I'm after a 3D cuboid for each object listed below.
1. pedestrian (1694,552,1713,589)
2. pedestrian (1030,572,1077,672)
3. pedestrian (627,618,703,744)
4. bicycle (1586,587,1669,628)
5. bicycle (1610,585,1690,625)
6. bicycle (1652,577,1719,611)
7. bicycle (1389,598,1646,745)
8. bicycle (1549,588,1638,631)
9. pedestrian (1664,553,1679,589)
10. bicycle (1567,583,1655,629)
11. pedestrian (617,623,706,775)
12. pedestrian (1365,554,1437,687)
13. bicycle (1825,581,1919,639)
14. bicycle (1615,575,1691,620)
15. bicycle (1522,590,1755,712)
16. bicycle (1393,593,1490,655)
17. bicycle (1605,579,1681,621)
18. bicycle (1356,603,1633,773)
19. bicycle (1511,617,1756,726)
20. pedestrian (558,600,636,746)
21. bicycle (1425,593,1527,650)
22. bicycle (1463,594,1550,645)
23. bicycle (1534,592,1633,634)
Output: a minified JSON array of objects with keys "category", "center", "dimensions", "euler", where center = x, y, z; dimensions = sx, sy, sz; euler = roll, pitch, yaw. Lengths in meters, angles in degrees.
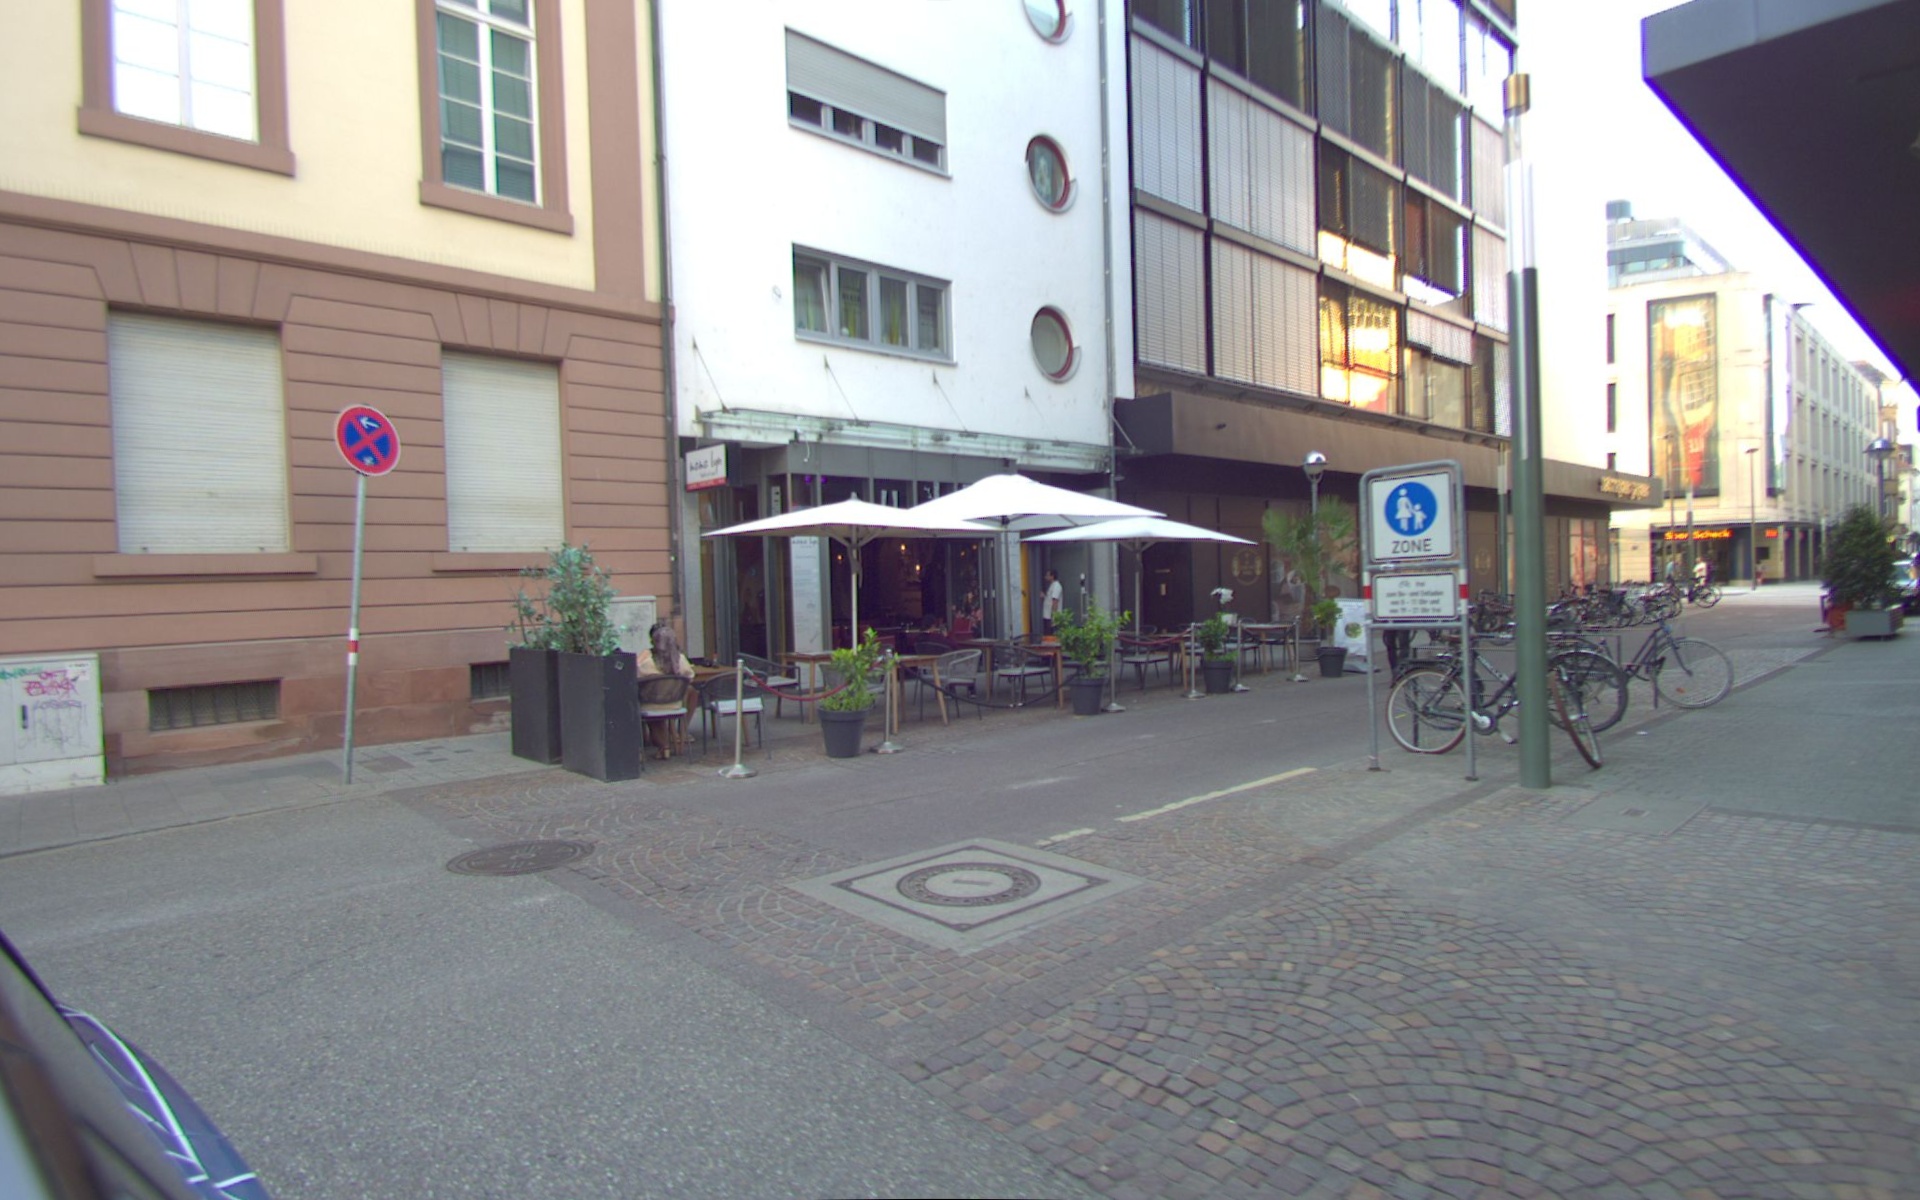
[{"category":"pedestrian","center":[32.302,-1.276,43.974],"dimensions":[0.471,1.584,0.380],"euler":[-2,0,-4]},{"category":"pedestrian","center":[1.610,0.365,17.404],"dimensions":[0.620,1.678,0.666],"euler":[-2,0,20]},{"category":"pedestrian","center":[-3.039,0.811,10.421],"dimensions":[0.541,1.220,0.525],"euler":[-2,0,-40]},{"category":"bicycle","center":[17.805,0.212,27.023],"dimensions":[0.459,1.059,1.779],"euler":[-2,0,-43]},{"category":"bicycle","center":[18.814,0.141,27.625],"dimensions":[0.459,1.059,1.735],"euler":[-2,0,-43]},{"category":"bicycle","center":[24.230,-0.200,33.817],"dimensions":[0.430,1.069,1.735],"euler":[-2,0,-43]},{"category":"bicycle","center":[4.871,0.608,8.946],"dimensions":[0.601,1.159,1.843],"euler":[-2,-1,-43]},{"category":"bicycle","center":[15.772,0.236,25.220],"dimensions":[0.523,1.016,1.797],"euler":[-2,0,-43]},{"category":"pedestrian","center":[31.199,-1.257,44.386],"dimensions":[0.477,1.564,0.430],"euler":[-2,0,32]},{"category":"bicycle","center":[16.833,0.160,26.197],"dimensions":[0.459,1.144,1.850],"euler":[-2,0,-43]},{"category":"pedestrian","center":[-2.546,0.815,8.636],"dimensions":[0.553,1.221,0.462],"euler":[-2,0,-40]},{"category":"pedestrian","center":[6.238,0.274,14.304],"dimensions":[0.738,1.798,0.958],"euler":[-2,0,33]},{"category":"bicycle","center":[16.877,0.187,18.323],"dimensions":[0.362,1.022,1.795],"euler":[-2,-1,-43]},{"category":"bicycle","center":[20.155,-0.062,29.445],"dimensions":[0.459,1.238,1.735],"euler":[-2,0,-43]},{"category":"bicycle","center":[7.021,0.515,10.562],"dimensions":[0.548,1.153,1.913],"euler":[-2,-1,-43]},{"category":"bicycle","center":[9.038,0.447,19.035],"dimensions":[0.540,1.093,1.544],"euler":[-2,0,-43]},{"category":"bicycle","center":[19.489,0.006,28.905],"dimensions":[0.459,1.154,1.735],"euler":[-2,0,-43]},{"category":"bicycle","center":[3.997,0.625,7.662],"dimensions":[0.699,1.121,1.675],"euler":[-2,-1,-43]},{"category":"bicycle","center":[6.164,0.642,9.355],"dimensions":[0.447,0.902,1.795],"euler":[-2,-1,-43]},{"category":"pedestrian","center":[-3.554,0.695,9.914],"dimensions":[0.541,1.359,0.489],"euler":[-2,0,-40]},{"category":"bicycle","center":[10.421,0.429,20.468],"dimensions":[0.540,1.100,1.730],"euler":[-2,0,-43]},{"category":"bicycle","center":[11.688,0.425,21.671],"dimensions":[0.459,1.044,1.558],"euler":[-2,0,-43]},{"category":"bicycle","center":[14.966,0.313,24.330],"dimensions":[0.459,0.964,1.947],"euler":[-2,0,-43]}]
